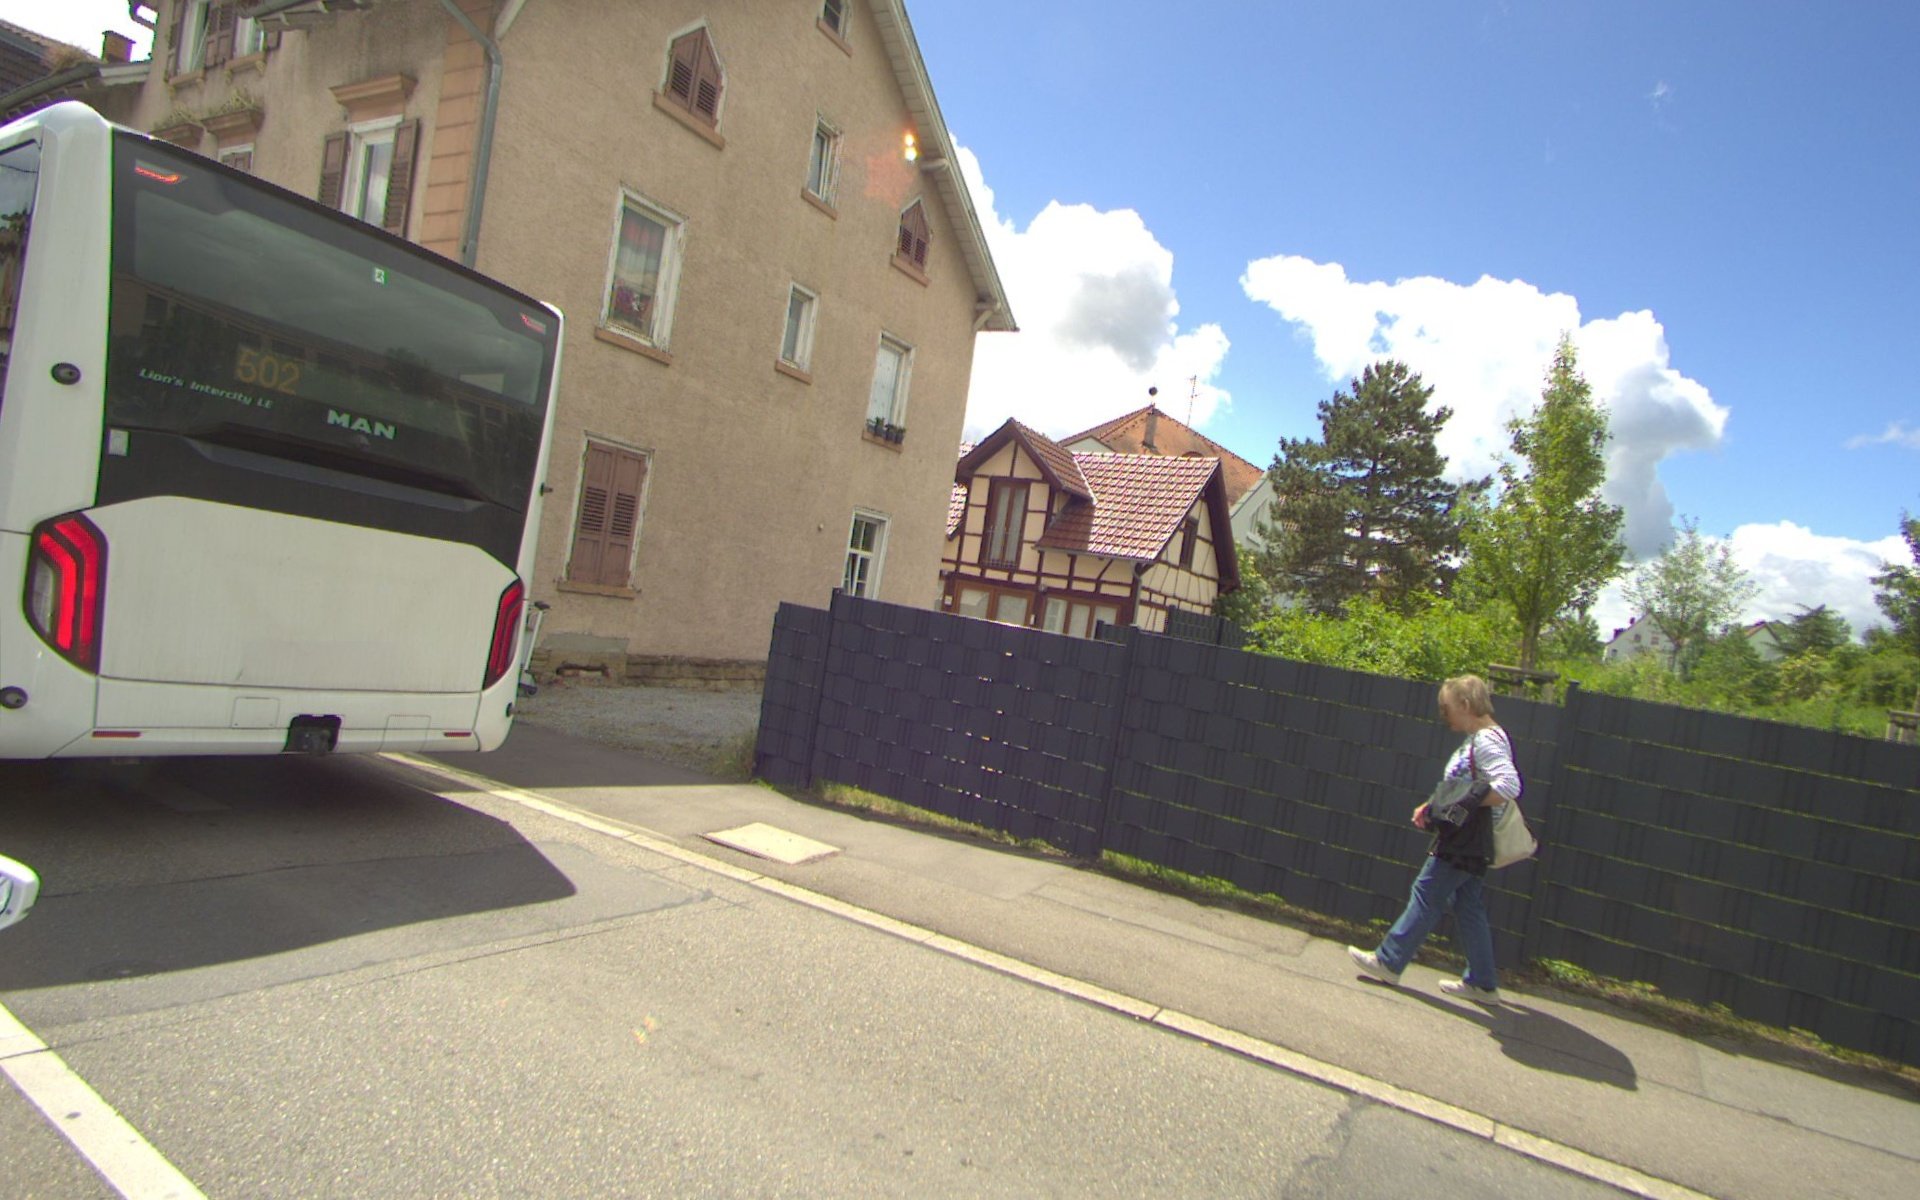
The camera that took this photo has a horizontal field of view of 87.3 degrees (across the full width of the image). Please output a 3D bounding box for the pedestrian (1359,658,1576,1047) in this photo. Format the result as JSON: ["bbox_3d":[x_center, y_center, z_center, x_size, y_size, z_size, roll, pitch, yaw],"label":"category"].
[{"bbox_3d":[2.452,1.117,4.834,0.700,1.581,0.860,7,1,31],"label":"pedestrian"}]

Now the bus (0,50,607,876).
[{"bbox_3d":[-8.197,-1.001,8.202,12.255,3.192,2.678,7,-1,32],"label":"bus"}]
